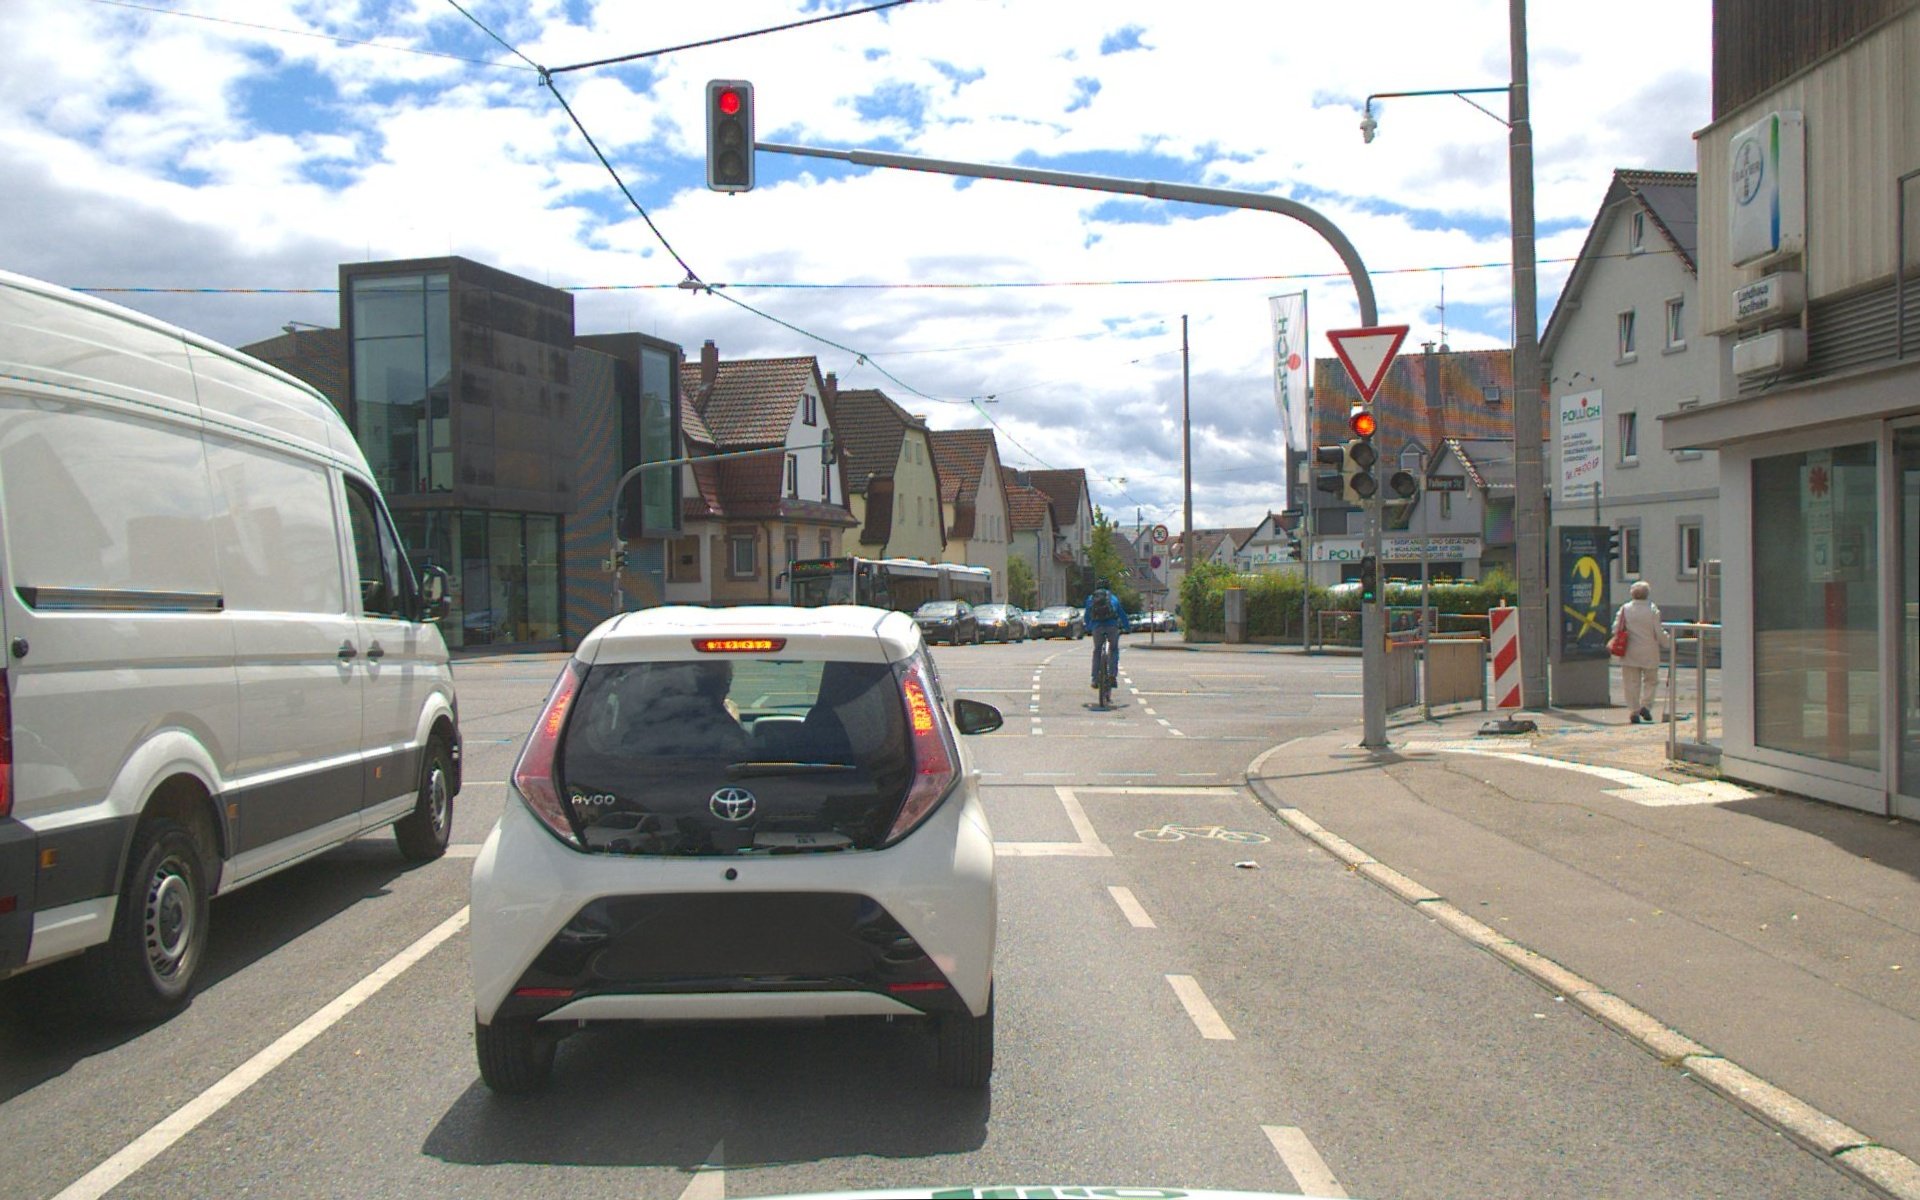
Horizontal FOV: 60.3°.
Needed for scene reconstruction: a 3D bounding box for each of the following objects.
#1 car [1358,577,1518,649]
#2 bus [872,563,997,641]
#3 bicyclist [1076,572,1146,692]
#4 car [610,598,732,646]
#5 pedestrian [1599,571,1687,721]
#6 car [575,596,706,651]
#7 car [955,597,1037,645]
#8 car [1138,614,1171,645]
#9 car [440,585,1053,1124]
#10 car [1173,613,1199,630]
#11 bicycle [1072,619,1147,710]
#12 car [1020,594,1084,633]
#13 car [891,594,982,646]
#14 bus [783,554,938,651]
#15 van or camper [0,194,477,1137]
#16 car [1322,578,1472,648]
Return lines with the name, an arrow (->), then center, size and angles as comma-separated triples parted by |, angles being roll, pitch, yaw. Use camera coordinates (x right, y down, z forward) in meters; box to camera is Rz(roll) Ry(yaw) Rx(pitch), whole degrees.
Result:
car -> 13.587, 0.365, 47.116 | 3.914, 1.982, 1.995 | 0, 0, -10
bus -> -0.893, 0.051, 67.090 | 2.719, 2.965, 9.198 | 0, 0, 15
bicyclist -> 2.144, 0.442, 23.633 | 0.823, 1.642, 1.083 | 2, 0, -1
car -> -10.482, 0.786, 60.106 | 3.902, 1.713, 2.002 | 0, 0, 13
pedestrian -> 7.774, 0.506, 18.858 | 0.816, 1.666, 0.874 | 0, 0, 16
car -> -11.030, 0.788, 57.223 | 3.902, 1.668, 2.002 | 3, 1, 13
car -> 1.350, 0.740, 60.430 | 1.951, 1.668, 4.186 | 0, 0, 16
car -> 13.802, 2.058, 117.140 | 1.951, 2.049, 4.003 | 0, 0, 12
car -> -0.678, 0.695, 6.407 | 1.703, 1.486, 3.530 | 0, 0, -3
car -> 22.305, 2.103, 162.822 | 1.951, 1.668, 4.003 | 0, 0, 16
bicycle -> 2.114, 0.895, 23.720 | 0.815, 1.184, 2.191 | 2, 0, -1
car -> 4.105, 0.579, 72.898 | 1.951, 1.668, 4.003 | 0, 0, 16
car -> -0.748, 0.622, 55.231 | 1.951, 1.668, 4.003 | 0, 0, 16
bus -> -3.297, 0.063, 58.025 | 2.719, 3.113, 9.198 | 0, 0, 15
van or camper -> -3.867, 0.180, 7.239 | 2.065, 2.632, 5.641 | -2, 0, -3
car -> 13.063, 0.373, 49.550 | 3.913, 2.049, 1.996 | 0, 0, -9
